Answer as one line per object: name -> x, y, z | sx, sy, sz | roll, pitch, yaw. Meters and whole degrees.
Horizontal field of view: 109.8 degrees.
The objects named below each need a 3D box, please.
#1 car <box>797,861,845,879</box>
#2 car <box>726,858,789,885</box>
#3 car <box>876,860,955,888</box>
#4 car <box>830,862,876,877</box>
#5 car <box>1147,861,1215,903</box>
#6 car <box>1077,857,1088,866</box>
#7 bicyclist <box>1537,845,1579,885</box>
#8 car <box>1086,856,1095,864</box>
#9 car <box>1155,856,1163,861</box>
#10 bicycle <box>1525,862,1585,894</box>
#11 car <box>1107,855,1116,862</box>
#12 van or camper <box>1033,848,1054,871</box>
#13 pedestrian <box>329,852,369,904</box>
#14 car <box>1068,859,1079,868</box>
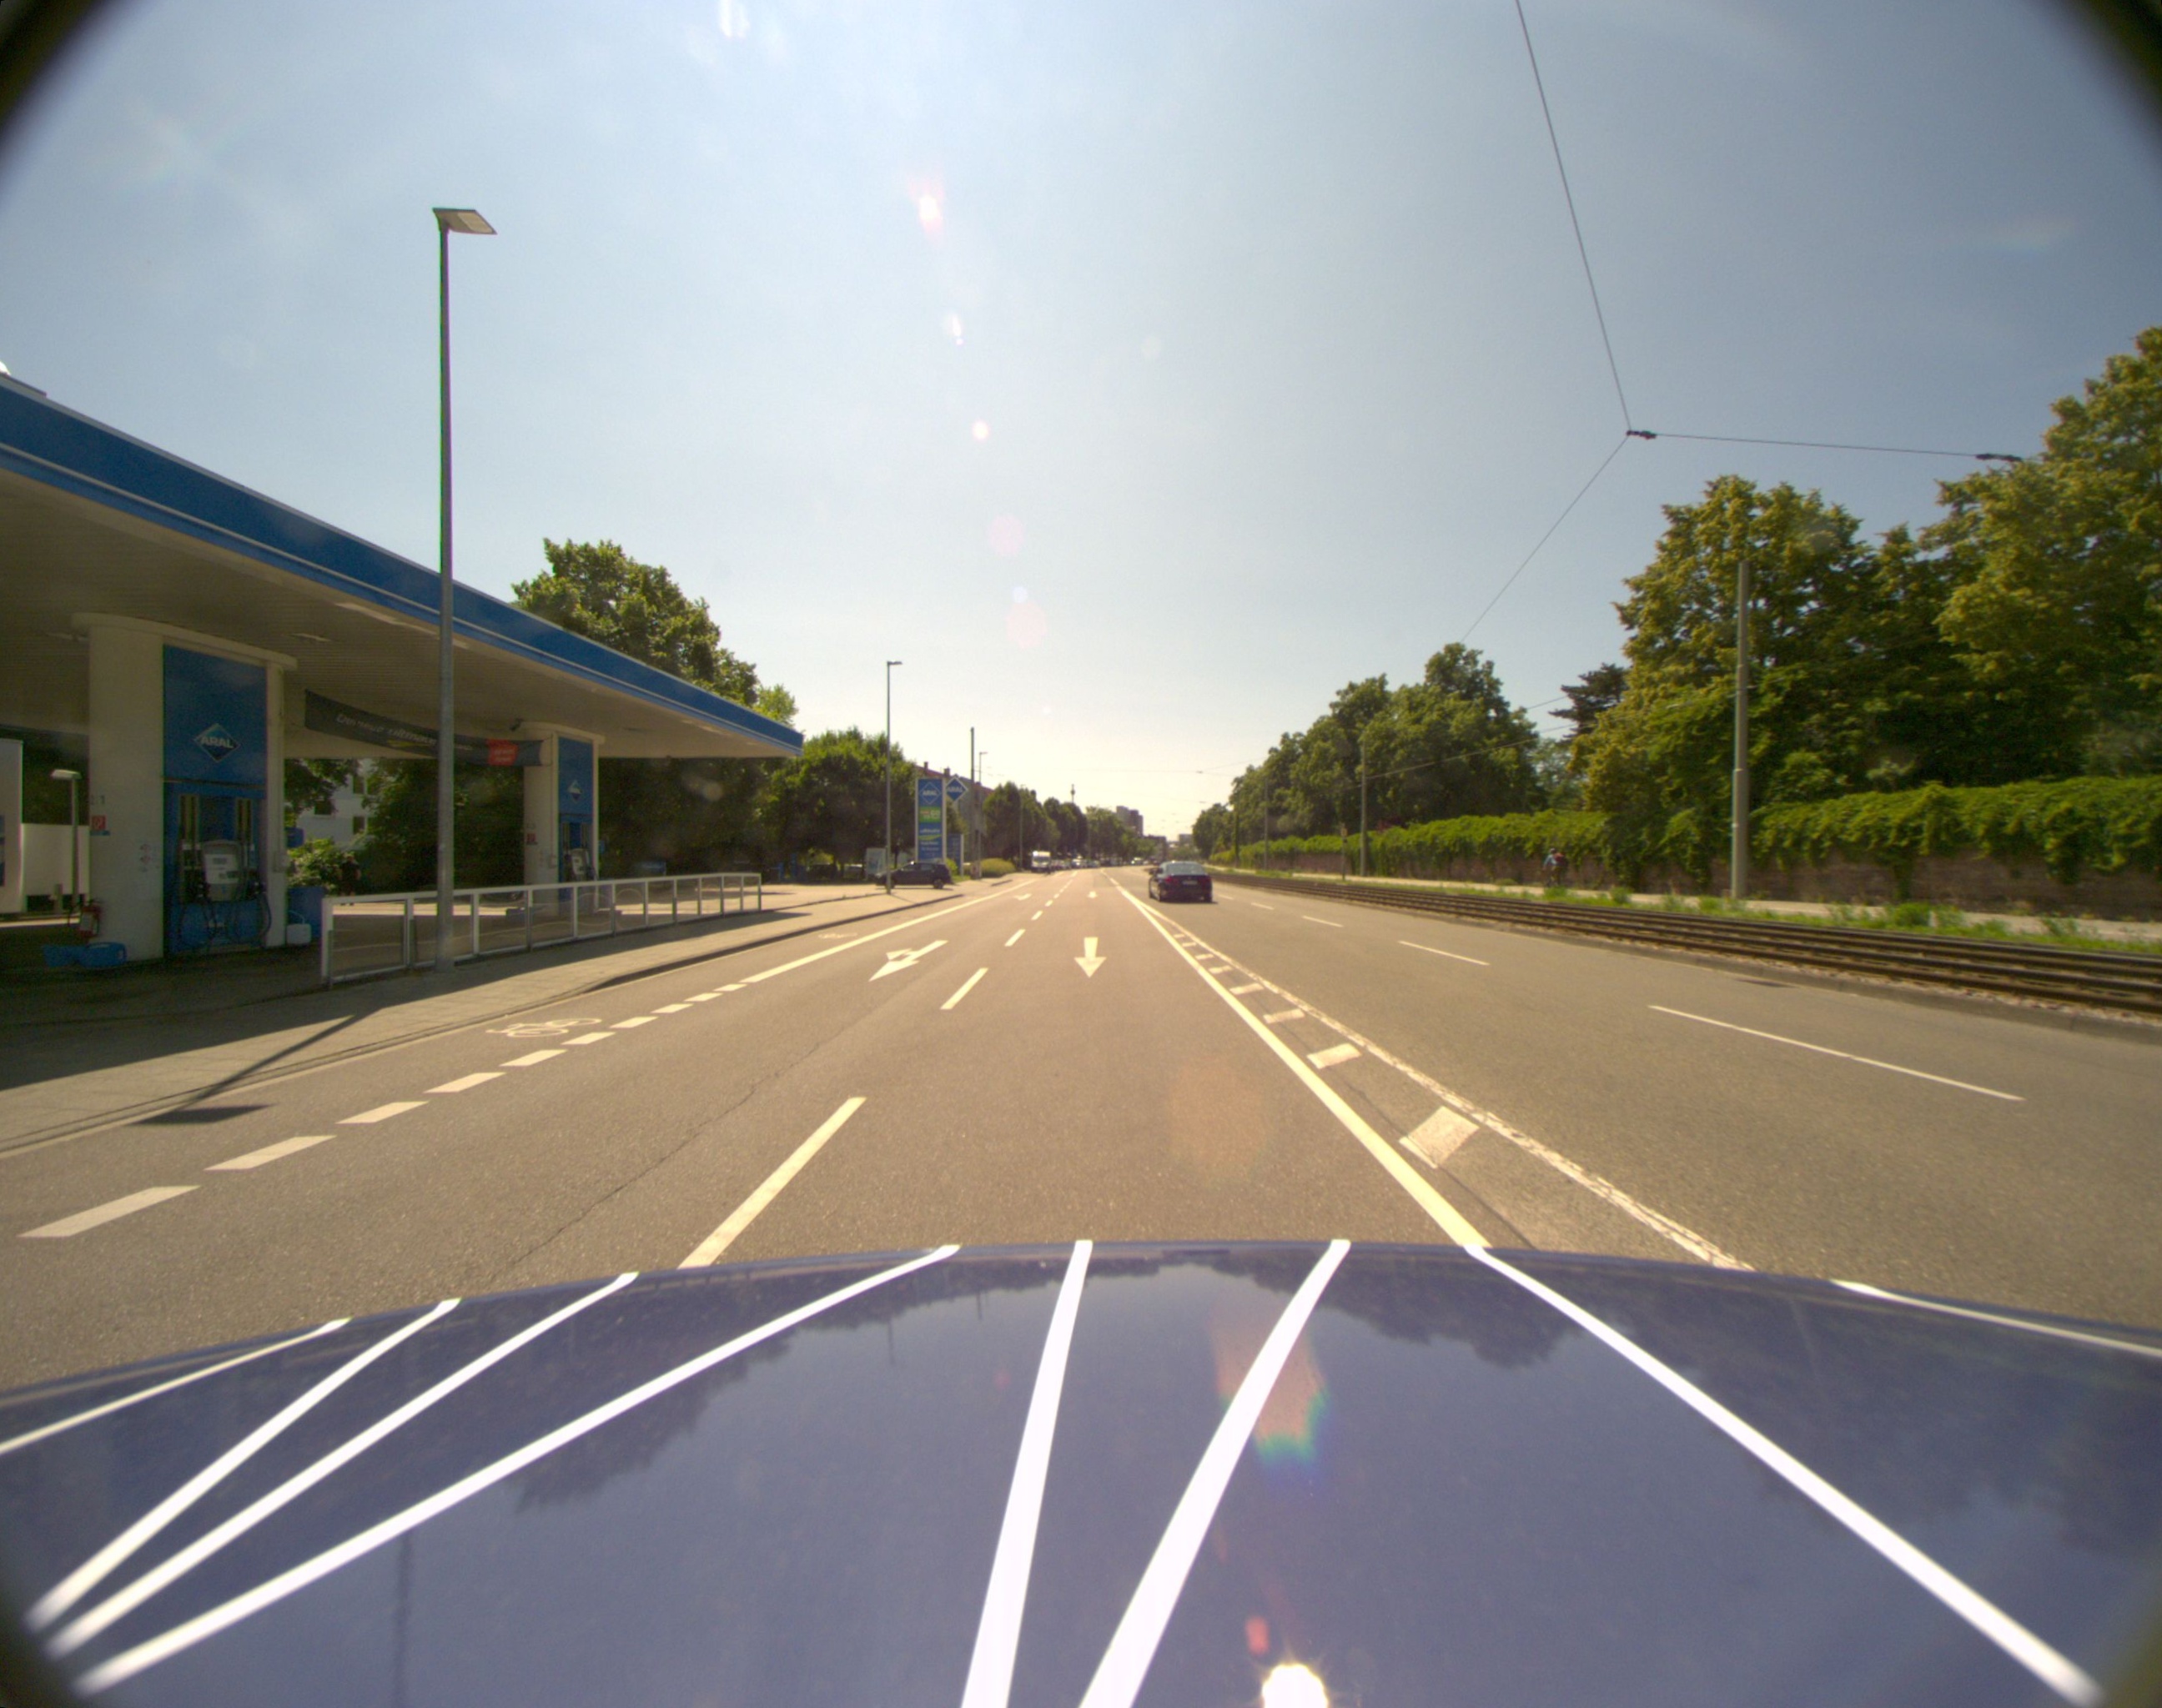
car -> -25.269, 1.529, 73.954 | 3.992, 1.677, 2.002 | 0, 0, 16
car -> -21.802, 1.146, 51.371 | 1.998, 1.653, 4.411 | 0, 1, 5
car -> -9.063, 1.070, 41.778 | 4.143, 1.413, 1.717 | -1, 0, -12
car -> -24.464, 1.637, 81.465 | 4.221, 1.512, 2.001 | 0, 0, 9
car -> 3.577, 0.959, 27.916 | 1.798, 1.391, 4.447 | 0, 0, -1
car -> 0.280, 1.405, 147.711 | 1.907, 1.707, 4.000 | 0, 0, 1
bicyclist -> 18.074, 0.425, 28.827 | 0.997, 1.477, 1.000 | 0, 0, 4
car -> 1.892, 1.271, 155.781 | 1.806, 1.584, 4.000 | 0, 0, 1
car -> 20.827, 1.176, 202.512 | 1.695, 1.460, 4.003 | 0, 0, 10
bicycle -> 18.075, 0.902, 29.060 | 0.830, 1.149, 2.686 | 0, 0, 4
car -> 7.449, 1.051, 186.558 | 1.998, 1.718, 4.000 | 0, 0, 1
van or camper -> -4.246, 0.572, 87.155 | 2.126, 2.469, 5.993 | 2, 0, 0
pedestrian -> -26.819, 0.879, 27.854 | 0.626, 1.877, 0.837 | 0, -1, 1
car -> -1.388, 1.688, 135.788 | 1.725, 1.586, 4.001 | 0, 0, 3
